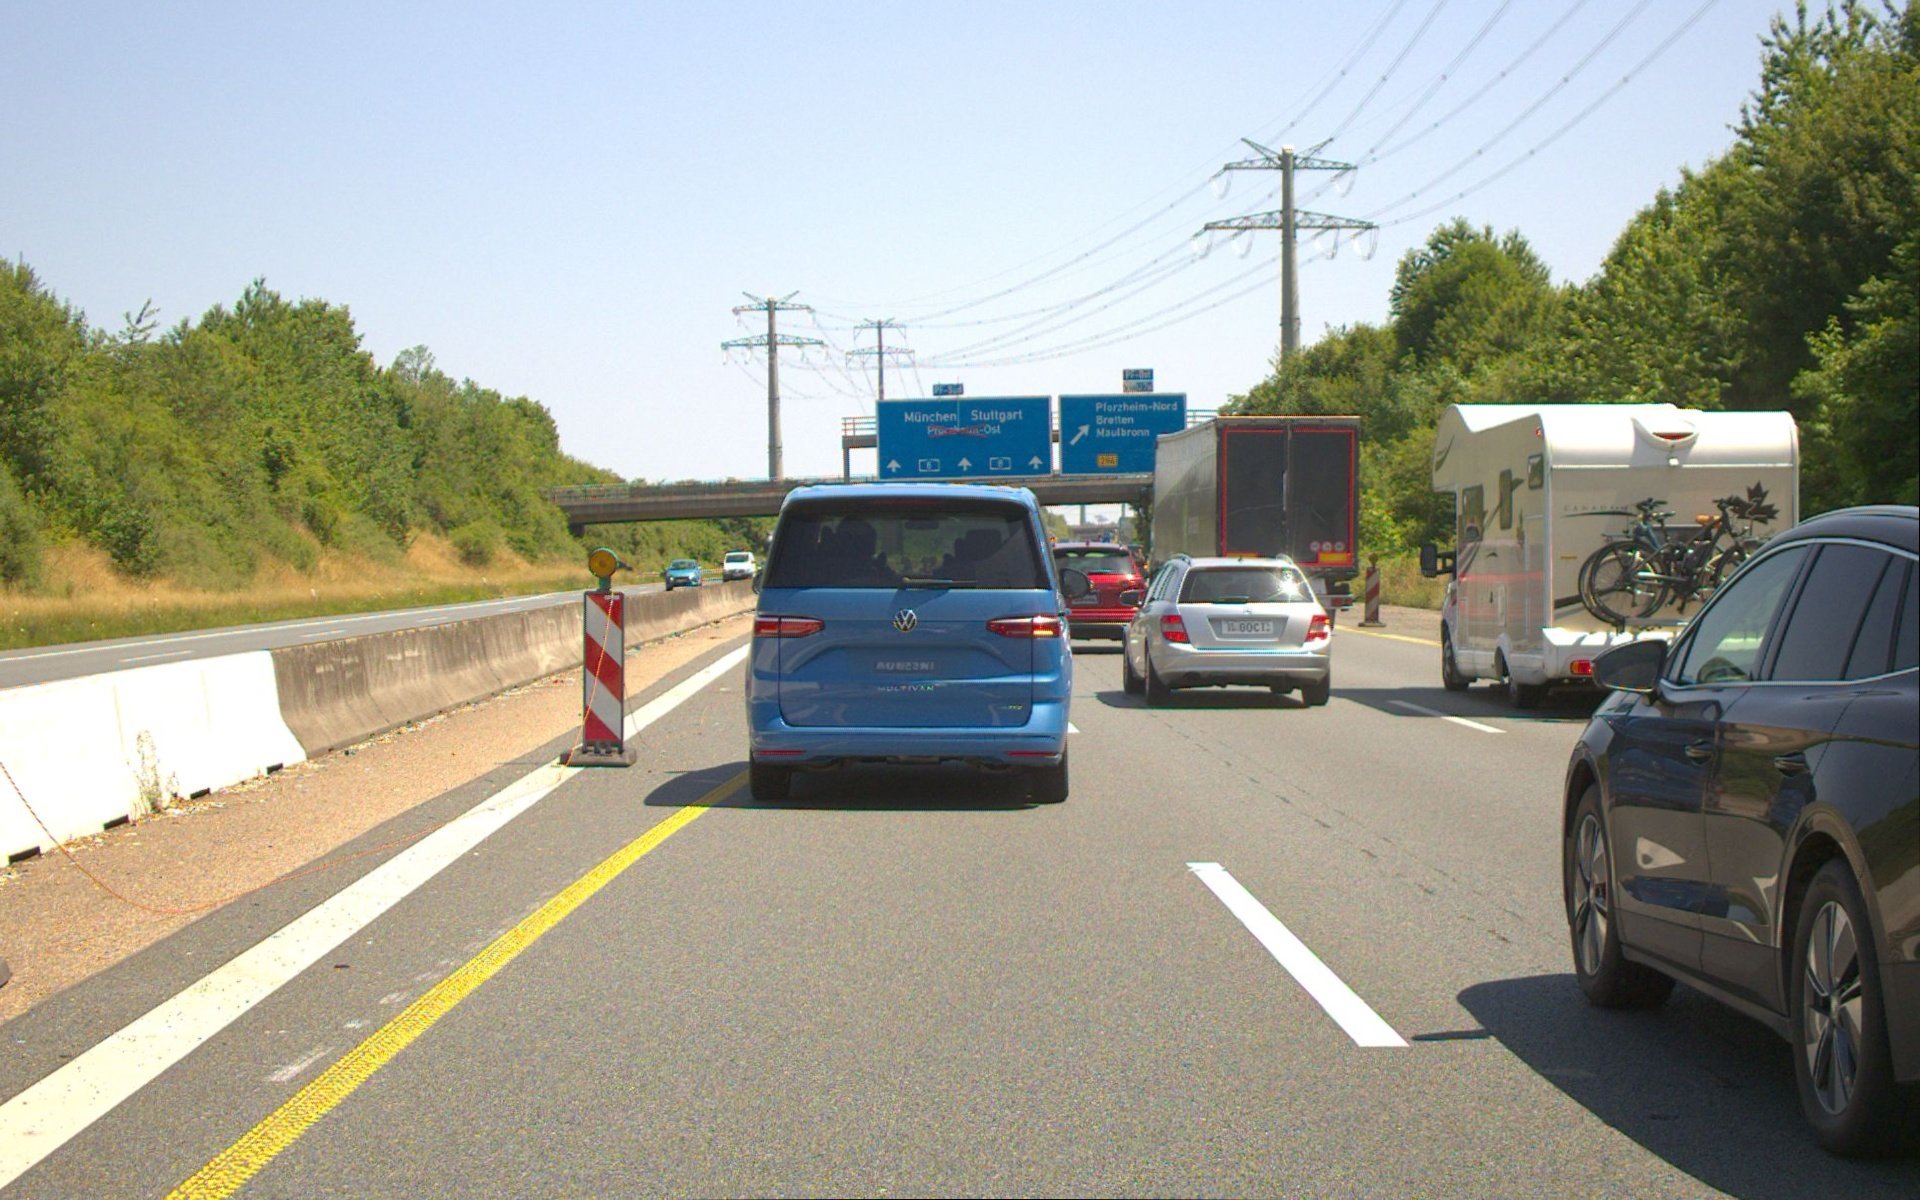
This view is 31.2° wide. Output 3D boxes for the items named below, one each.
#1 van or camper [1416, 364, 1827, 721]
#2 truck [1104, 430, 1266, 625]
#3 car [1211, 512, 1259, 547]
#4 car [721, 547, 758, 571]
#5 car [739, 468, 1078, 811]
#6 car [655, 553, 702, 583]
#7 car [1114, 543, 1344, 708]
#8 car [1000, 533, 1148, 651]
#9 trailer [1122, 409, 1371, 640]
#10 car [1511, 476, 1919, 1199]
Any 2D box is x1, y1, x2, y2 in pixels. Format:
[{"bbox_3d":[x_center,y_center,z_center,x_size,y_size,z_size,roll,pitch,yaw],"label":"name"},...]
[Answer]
[{"bbox_3d":[6.197,-0.549,33.386,2.369,3.033,7.633,1,1,-1],"label":"van or camper"},{"bbox_3d":[4.819,-1.549,74.728,2.732,4.033,5.794,1,1,-4],"label":"truck"},{"bbox_3d":[13.744,-3.523,172.119,1.874,1.665,4.360,1,1,-2],"label":"car"},{"bbox_3d":[-13.767,-2.569,215.180,1.993,1.393,4.000,-2,1,1],"label":"car"},{"bbox_3d":[-0.367,0.193,21.495,1.874,1.905,4.360,1,1,-2],"label":"car"},{"bbox_3d":[-14.305,-1.637,174.946,1.993,1.393,4.000,-2,1,1],"label":"car"},{"bbox_3d":[2.601,0.206,34.189,1.770,1.512,4.360,1,1,-2],"label":"car"},{"bbox_3d":[1.657,-0.141,51.325,1.874,1.665,4.360,1,1,-2],"label":"car"},{"bbox_3d":[5.359,-1.433,67.168,2.783,4.033,13.114,1,1,-4],"label":"trailer"},{"bbox_3d":[2.835,0.538,9.579,1.700,1.649,4.430,1,1,-2],"label":"car"}]
